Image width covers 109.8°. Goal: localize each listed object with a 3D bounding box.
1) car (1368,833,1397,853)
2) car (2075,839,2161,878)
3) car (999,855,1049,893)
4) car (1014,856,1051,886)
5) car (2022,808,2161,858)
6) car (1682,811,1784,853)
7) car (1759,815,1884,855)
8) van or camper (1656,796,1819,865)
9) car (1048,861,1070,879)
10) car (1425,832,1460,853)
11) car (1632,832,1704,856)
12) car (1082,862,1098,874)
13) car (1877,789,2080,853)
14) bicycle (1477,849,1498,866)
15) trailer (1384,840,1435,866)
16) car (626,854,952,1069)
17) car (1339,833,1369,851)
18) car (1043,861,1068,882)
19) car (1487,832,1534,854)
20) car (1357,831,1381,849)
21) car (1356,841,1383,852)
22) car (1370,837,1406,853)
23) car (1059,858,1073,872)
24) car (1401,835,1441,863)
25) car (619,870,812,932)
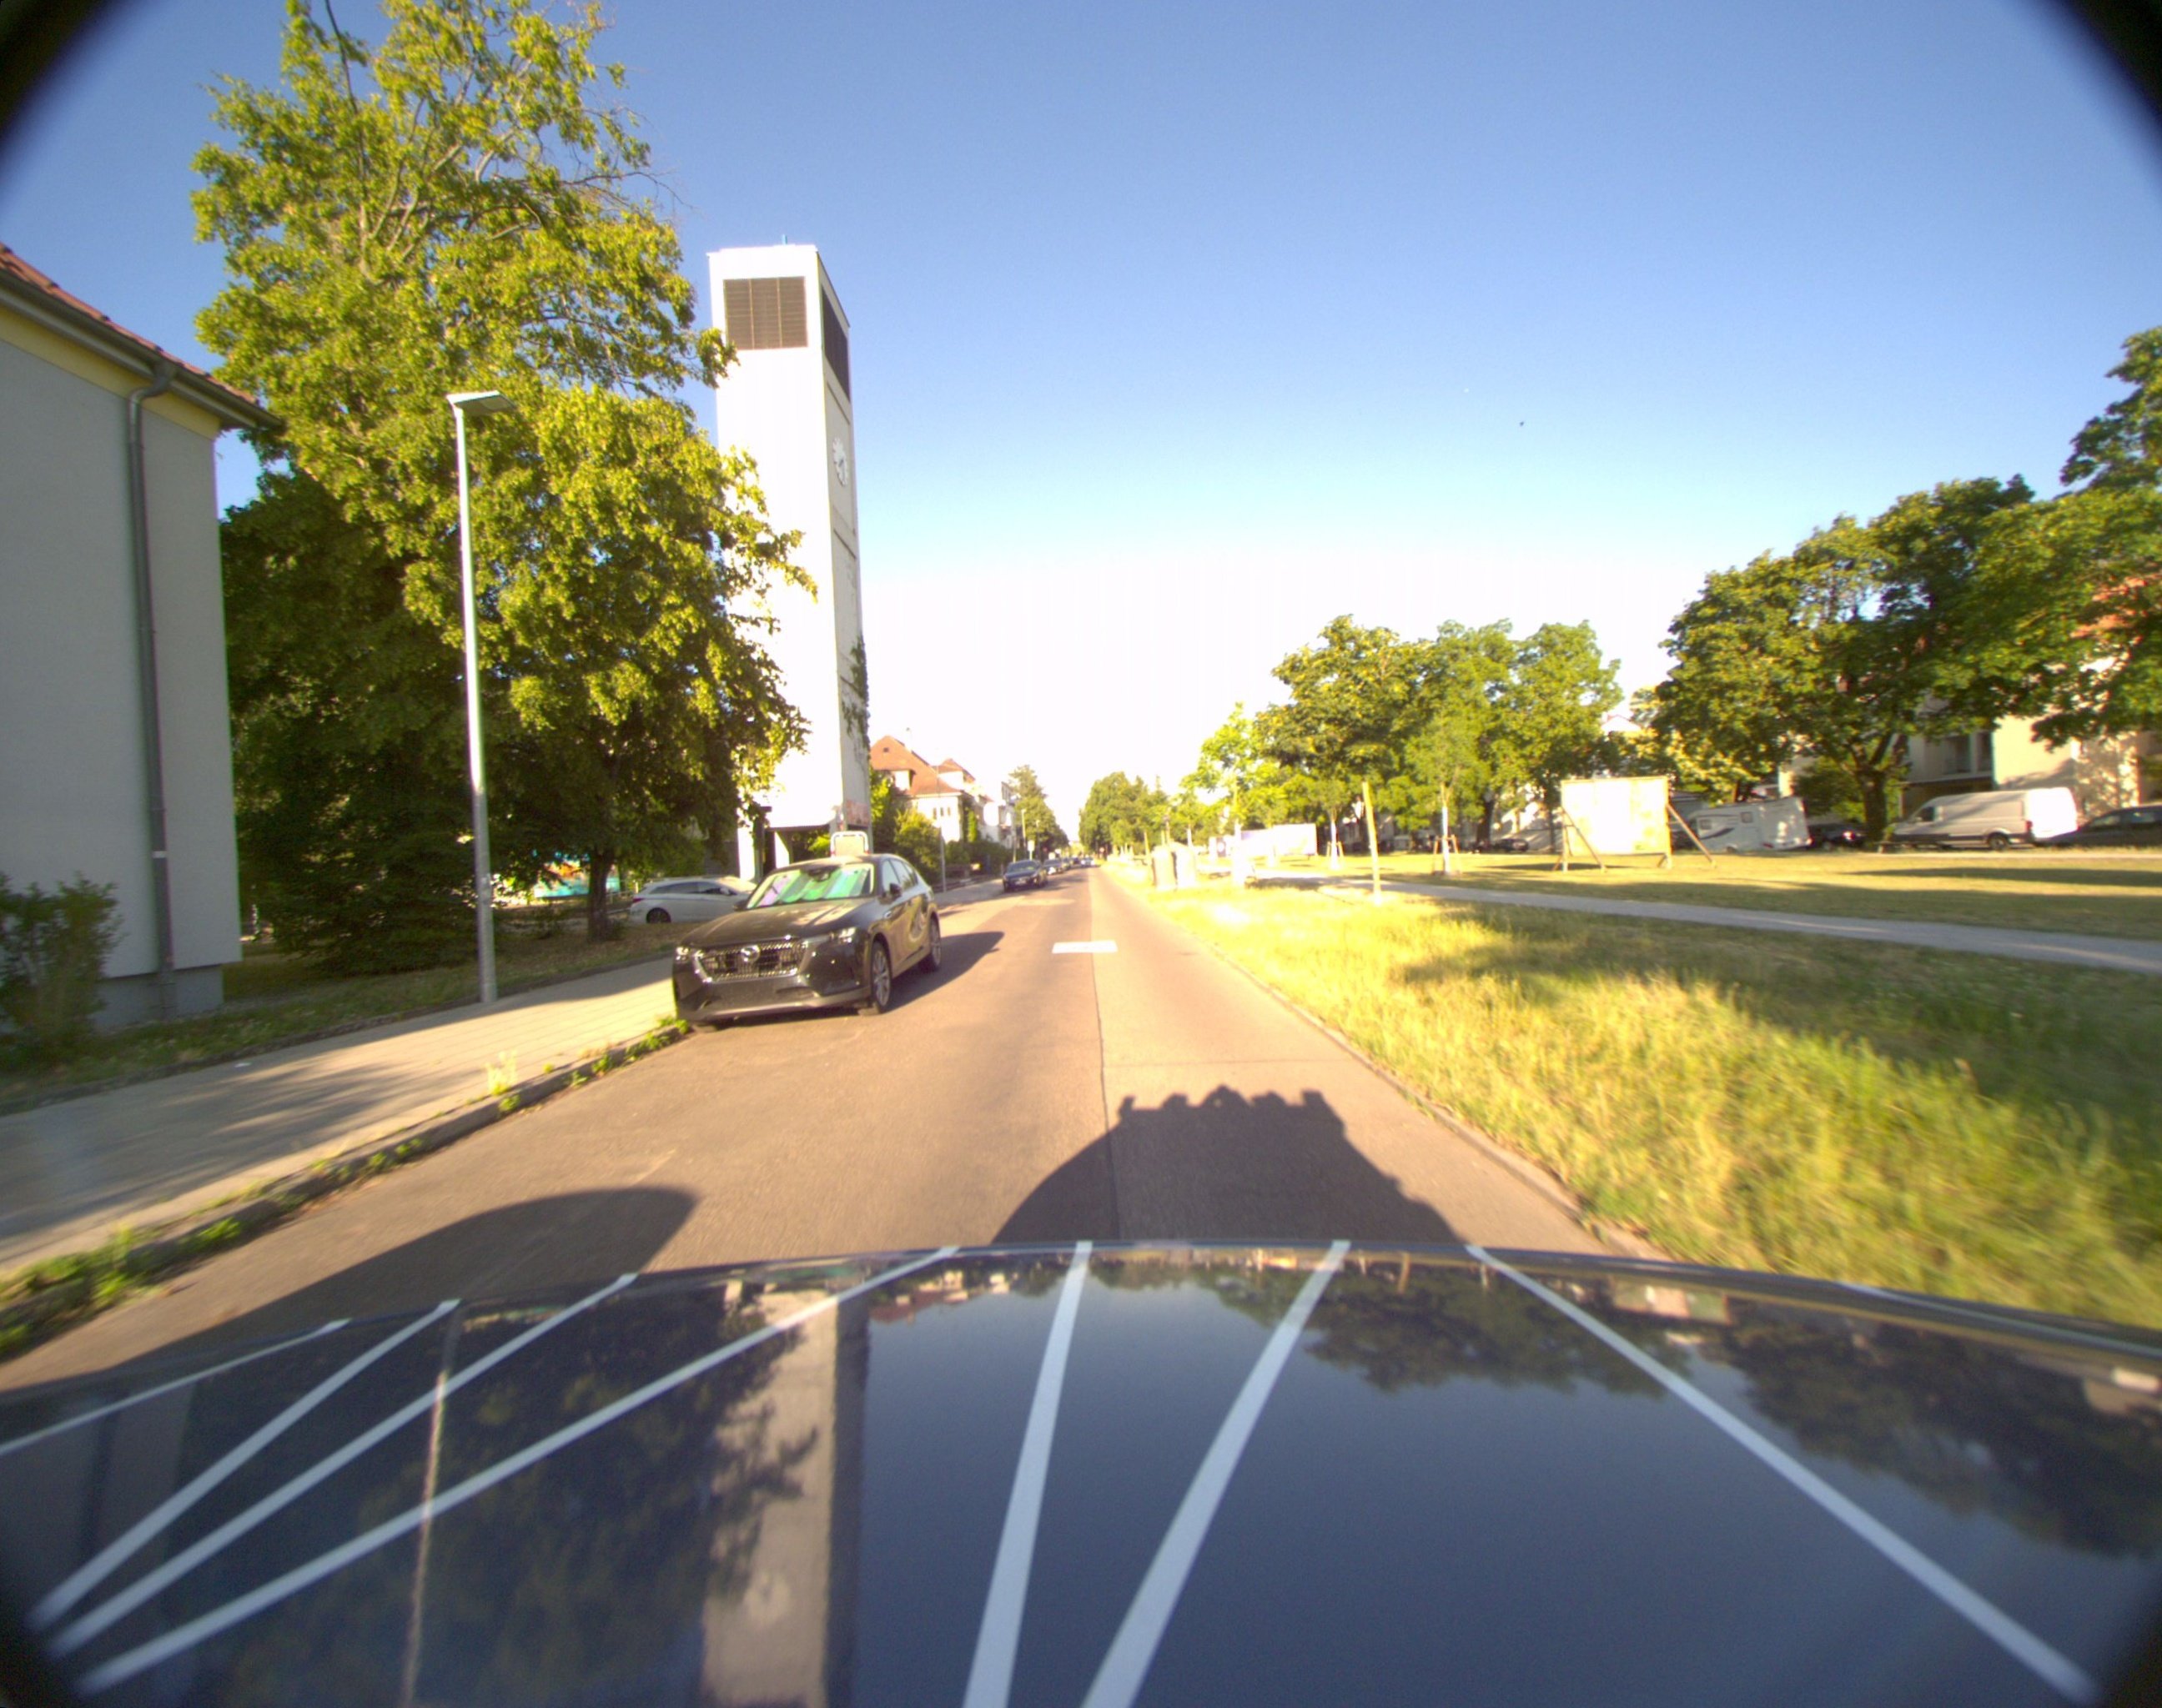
[{"bbox_3d":[40.799,-1.446,103.012,1.950,2.624,5.044,2,1,1],"label":"car"},{"bbox_3d":[40.322,0.190,27.824,1.998,1.394,4.563,2,1,4],"label":"car"},{"bbox_3d":[-2.737,0.952,37.643,1.827,1.552,4.622,-8,-1,1],"label":"car"},{"bbox_3d":[-2.770,1.007,44.358,1.692,1.518,4.175,-5,-1,1],"label":"car"},{"bbox_3d":[33.789,-0.661,24.529,1.417,1.555,4.310,-2,0,0],"label":"car"},{"bbox_3d":[34.261,-1.082,40.077,1.998,2.001,4.001,-2,0,1],"label":"car"},{"bbox_3d":[40.462,-0.957,41.713,1.974,1.992,5.050,-2,0,2],"label":"car"},{"bbox_3d":[34.261,-1.082,40.077,2.648,3.243,6.905,-2,-1,1],"label":"van or camper"},{"bbox_3d":[-2.311,1.669,80.644,1.888,1.527,4.462,-5,1,2],"label":"car"},{"bbox_3d":[40.250,-1.267,84.625,1.998,2.141,4.001,-2,0,1],"label":"car"},{"bbox_3d":[40.560,-0.682,52.632,1.999,1.533,3.809,-2,0,-1],"label":"car"},{"bbox_3d":[1.233,1.957,103.949,1.998,1.483,4.000,-2,0,0],"label":"car"},{"bbox_3d":[40.634,-1.409,34.733,1.998,2.583,6.089,2,1,1],"label":"car"},{"bbox_3d":[31.511,0.273,58.937,0.512,1.334,2.331,-2,0,4],"label":"bicycle"},{"bbox_3d":[34.690,-0.138,80.550,2.479,2.644,6.635,2,1,0],"label":"trailer"},{"bbox_3d":[-2.962,0.941,9.128,1.837,1.721,5.031,-4,0,0],"label":"car"},{"bbox_3d":[34.900,-1.506,97.257,1.999,2.161,4.571,-1,-1,-2],"label":"car"},{"bbox_3d":[-2.326,1.589,69.598,1.999,1.588,4.885,-6,1,0],"label":"car"},{"bbox_3d":[40.640,-0.983,71.998,1.894,1.901,4.715,-2,-1,1],"label":"car"},{"bbox_3d":[40.860,-1.959,107.836,1.998,2.527,3.999,-1,1,1],"label":"car"},{"bbox_3d":[34.783,-0.894,91.640,1.857,1.308,4.043,-3,0,3],"label":"car"},{"bbox_3d":[34.831,-0.982,86.381,1.999,1.632,4.951,-3,0,-1],"label":"car"},{"bbox_3d":[-2.082,1.547,105.469,1.805,1.639,4.583,-6,1,-1],"label":"car"},{"bbox_3d":[40.658,-0.530,91.082,1.998,3.230,6.076,-1,-1,1],"label":"car"},{"bbox_3d":[-11.099,1.405,23.341,4.859,1.478,2.001,-2,3,0],"label":"car"}]
